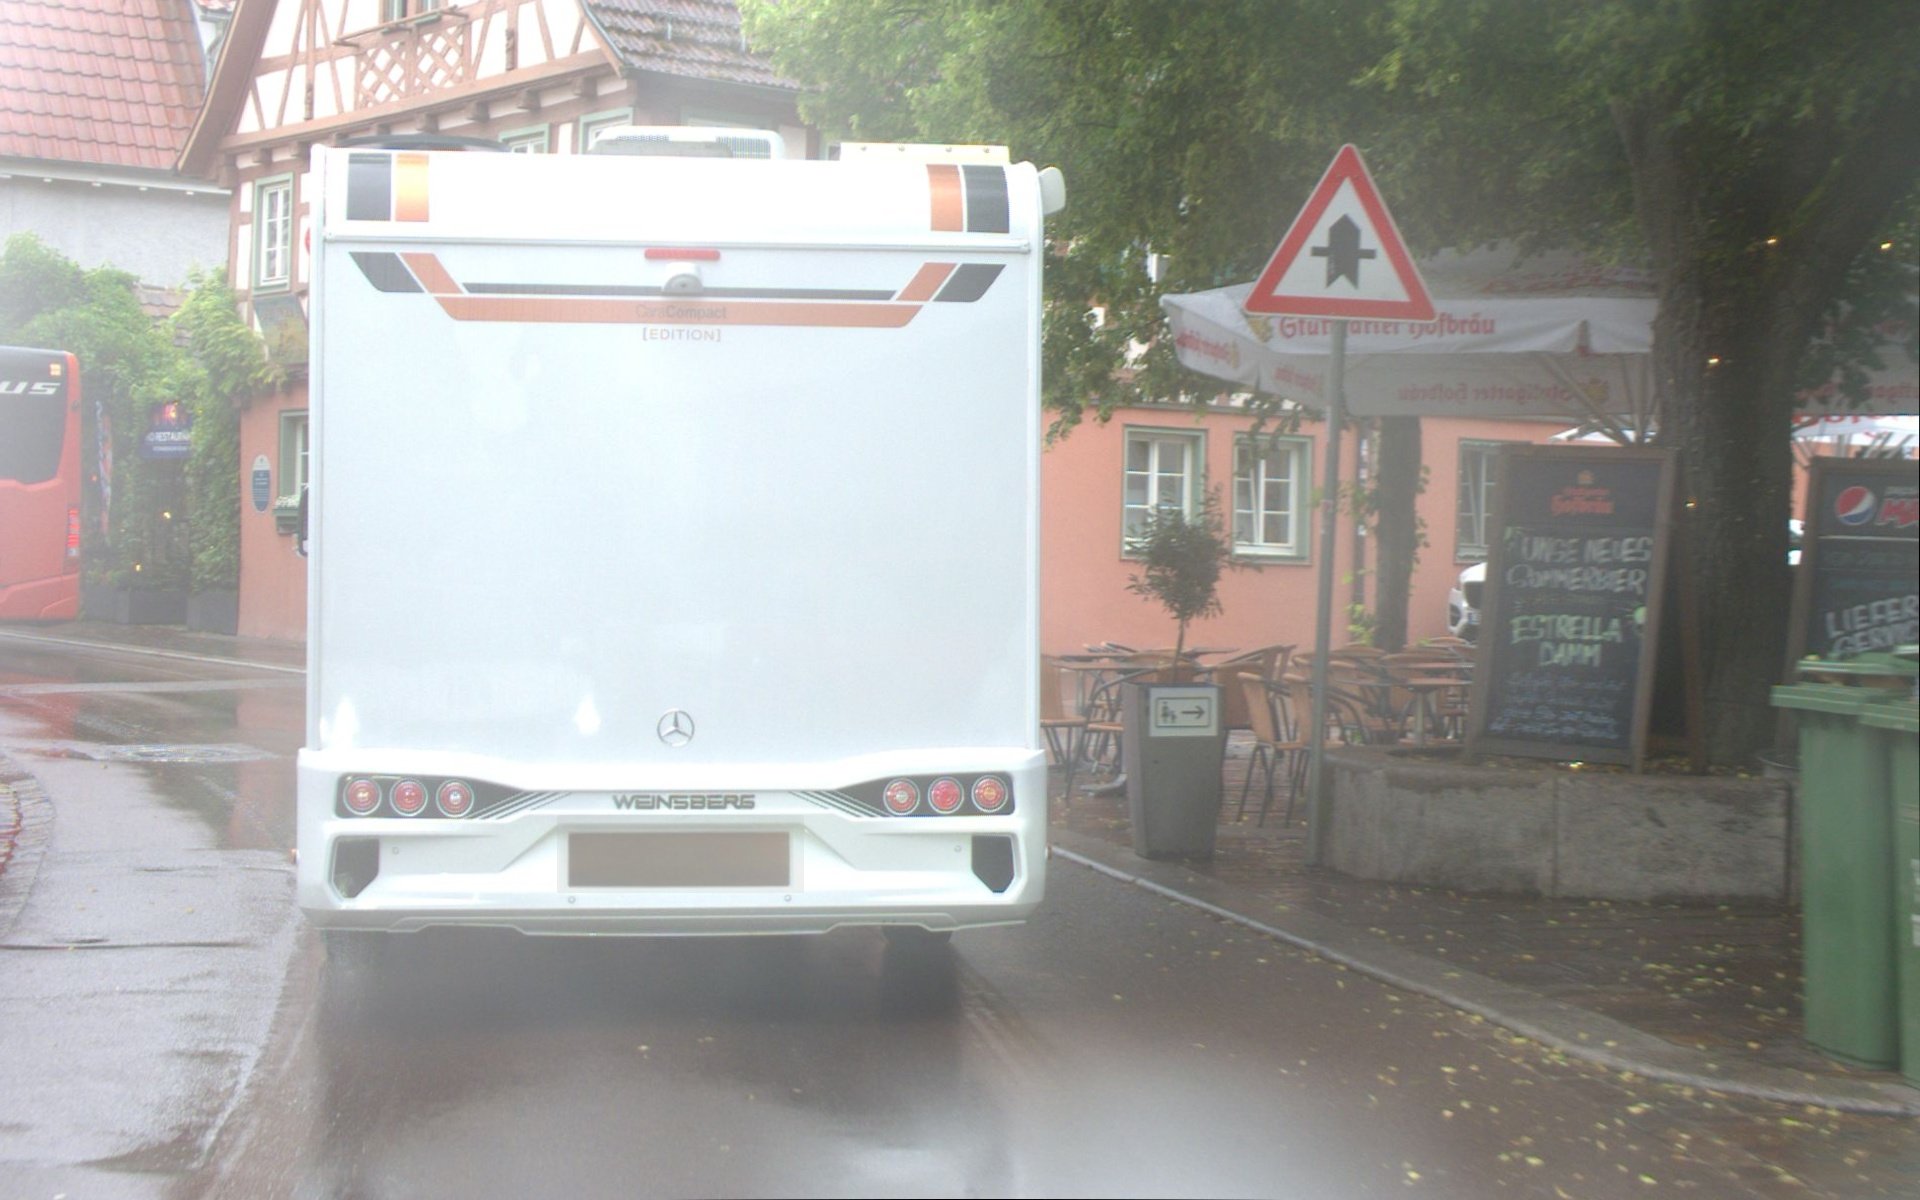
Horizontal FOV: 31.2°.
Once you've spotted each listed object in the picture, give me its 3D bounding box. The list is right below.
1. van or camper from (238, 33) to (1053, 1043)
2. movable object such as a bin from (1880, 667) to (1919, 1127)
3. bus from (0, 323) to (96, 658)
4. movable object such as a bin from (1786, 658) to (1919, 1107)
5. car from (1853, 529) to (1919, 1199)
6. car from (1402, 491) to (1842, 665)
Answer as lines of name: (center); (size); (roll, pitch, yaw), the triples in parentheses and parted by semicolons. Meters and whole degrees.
van or camper: (-1.224, -0.193, 13.197); (2.325, 2.909, 6.394); (1, 0, -6)
movable object such as a bin: (2.679, 0.751, 8.655); (0.533, 1.145, 0.501); (1, 0, -8)
bus: (-11.231, -1.100, 35.640); (2.641, 3.216, 6.603); (1, 0, -30)
movable object such as a bin: (2.559, 0.747, 9.283); (0.476, 1.165, 0.489); (1, 0, -8)
car: (2.962, 0.635, 5.921); (1.690, 1.534, 4.403); (1, 0, 0)
car: (6.982, -0.227, 36.104); (4.452, 1.626, 1.945); (0, 4, -36)
